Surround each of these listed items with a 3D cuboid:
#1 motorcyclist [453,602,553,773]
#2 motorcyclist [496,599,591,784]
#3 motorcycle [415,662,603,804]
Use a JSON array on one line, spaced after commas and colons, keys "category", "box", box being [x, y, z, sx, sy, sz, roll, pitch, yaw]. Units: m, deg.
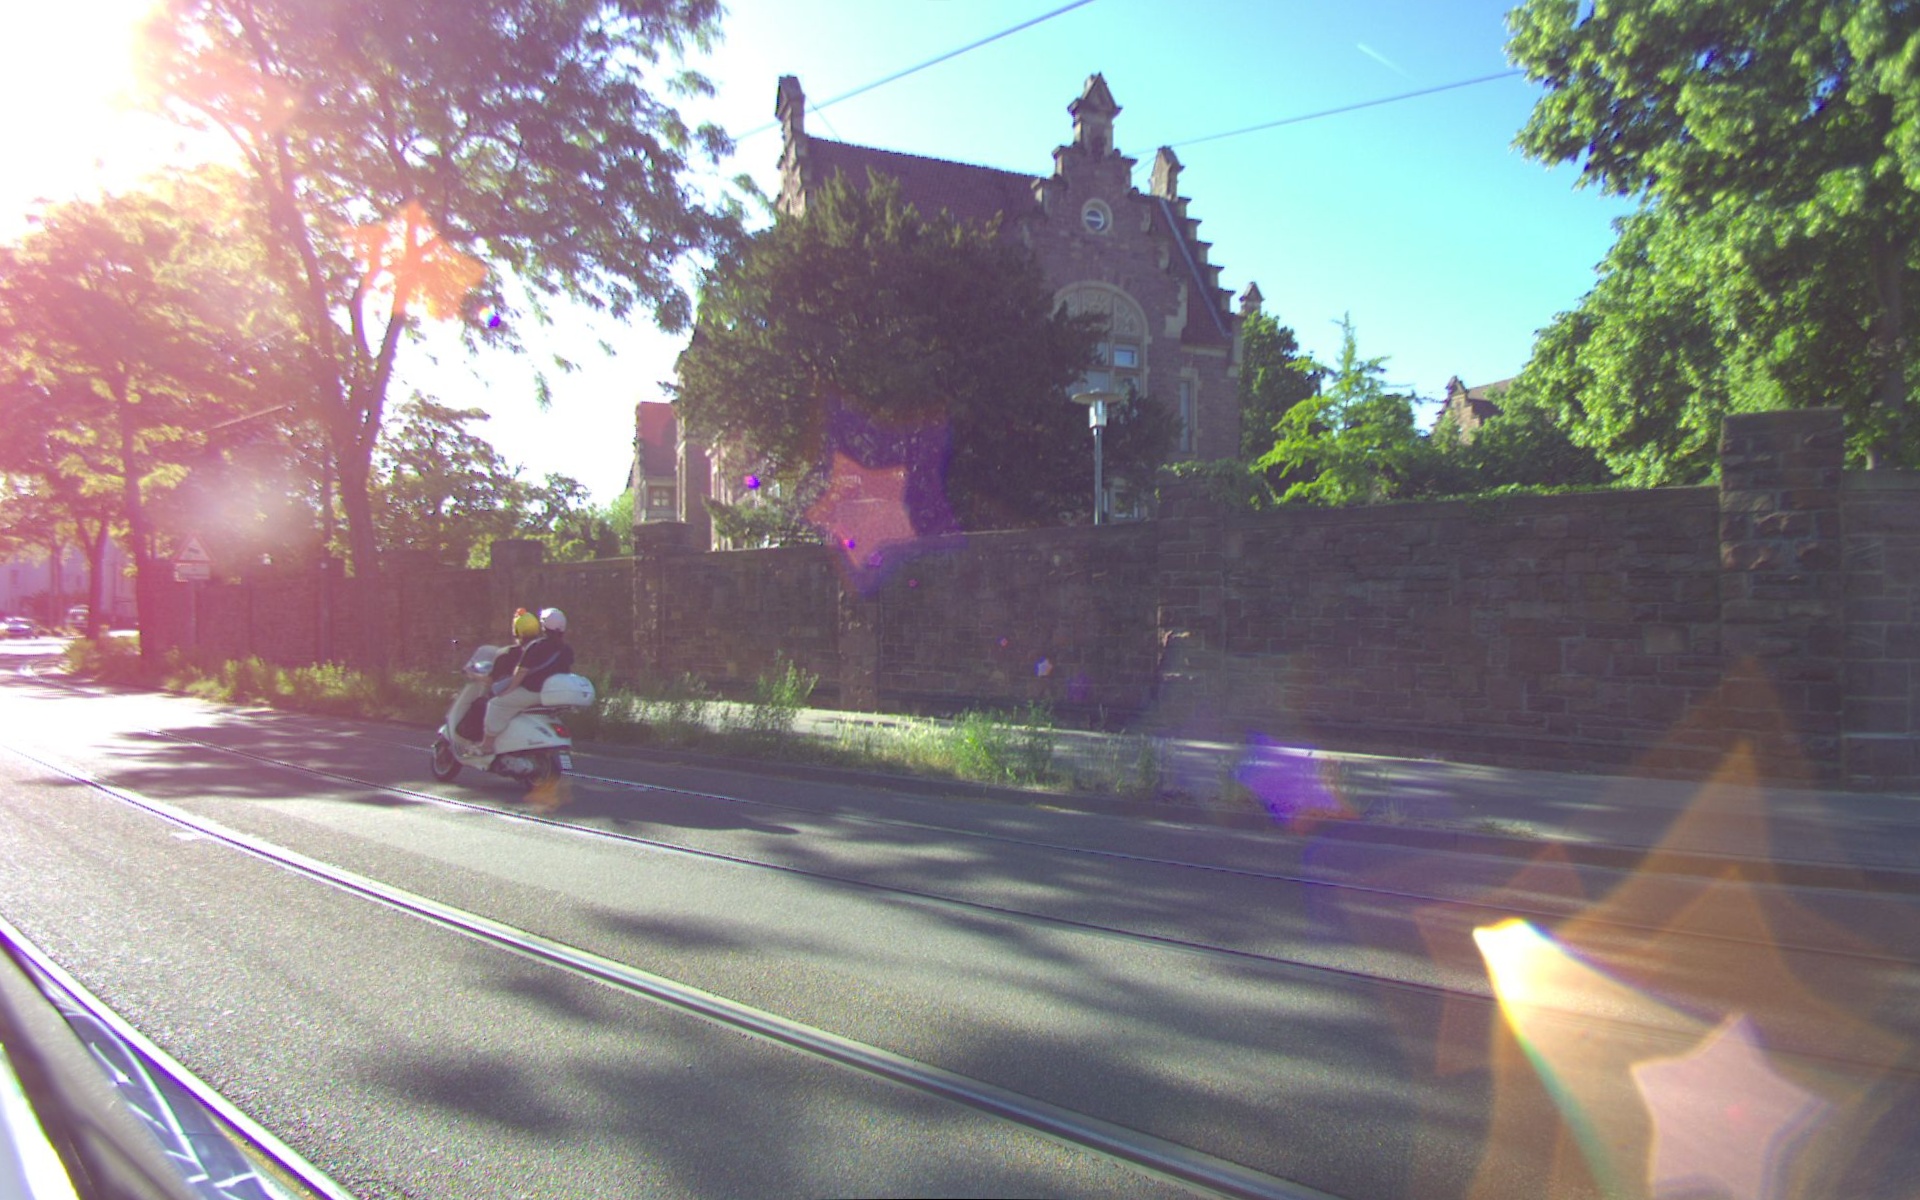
[{"category": "motorcyclist", "box": [-4.069, 0.749, 9.025, 0.445, 1.451, 0.678, -1, -1, 31]}, {"category": "motorcyclist", "box": [-3.586, 0.759, 8.724, 0.464, 1.527, 0.602, -1, -1, 32]}, {"category": "motorcycle", "box": [-4.040, 1.130, 9.010, 1.850, 1.101, 0.604, -1, -1, 32]}]
